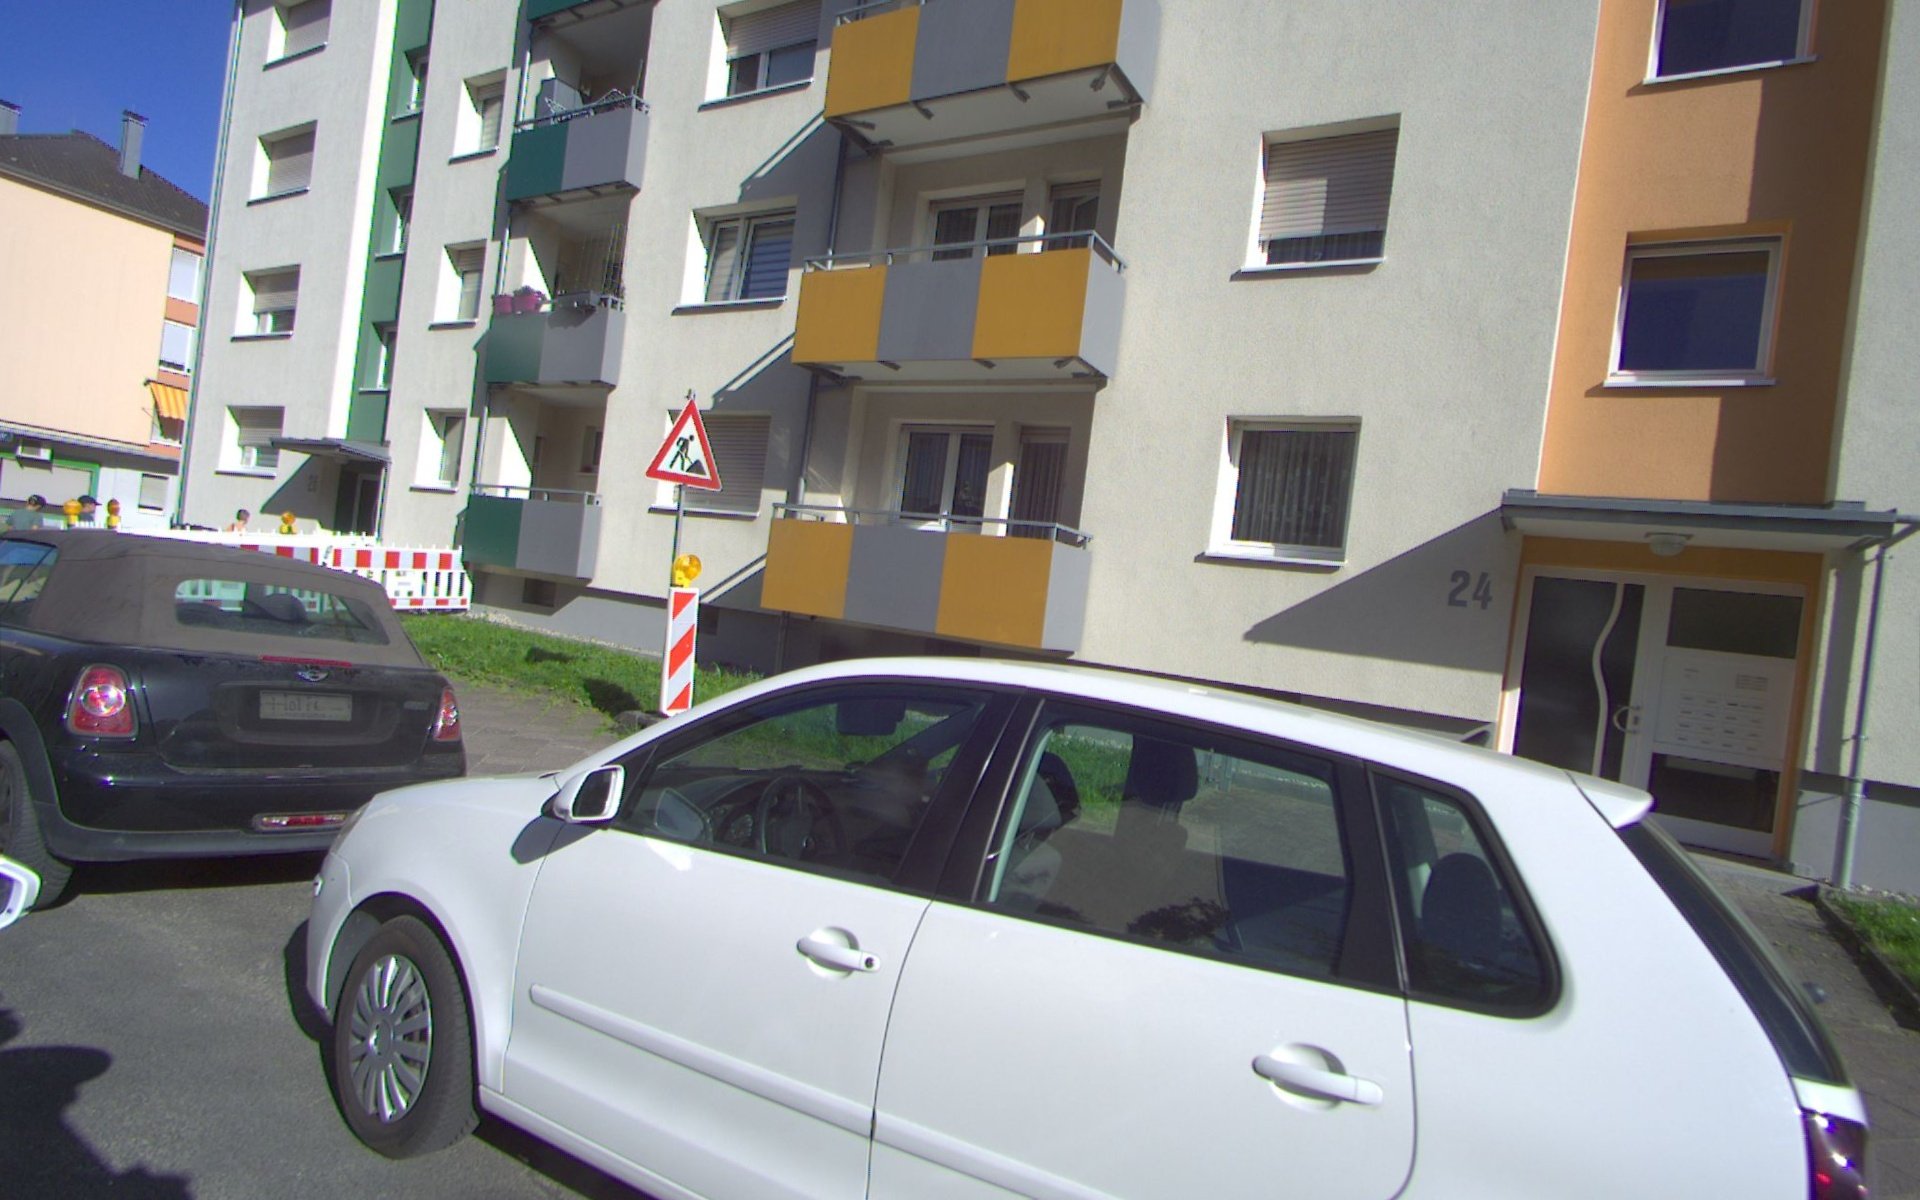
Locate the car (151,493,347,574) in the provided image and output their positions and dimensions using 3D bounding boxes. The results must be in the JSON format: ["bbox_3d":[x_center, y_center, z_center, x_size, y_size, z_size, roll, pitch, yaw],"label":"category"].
[{"bbox_3d":[-20.645,-1.890,29.370,1.796,1.632,4.243,8,-1,37],"label":"car"}]

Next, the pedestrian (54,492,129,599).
[{"bbox_3d":[-12.581,-0.779,14.581,0.566,1.452,0.471,8,2,10],"label":"pedestrian"}]

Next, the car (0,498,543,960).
[{"bbox_3d":[-4.007,0.392,4.976,3.523,1.482,1.693,7,-4,32],"label":"car"}]

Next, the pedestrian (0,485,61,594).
[{"bbox_3d":[-13.174,-0.841,14.172,0.499,1.452,0.450,7,2,-6],"label":"pedestrian"}]

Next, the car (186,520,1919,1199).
[{"bbox_3d":[-0.134,0.805,2.808,3.753,1.478,1.691,7,-3,29],"label":"car"}]
